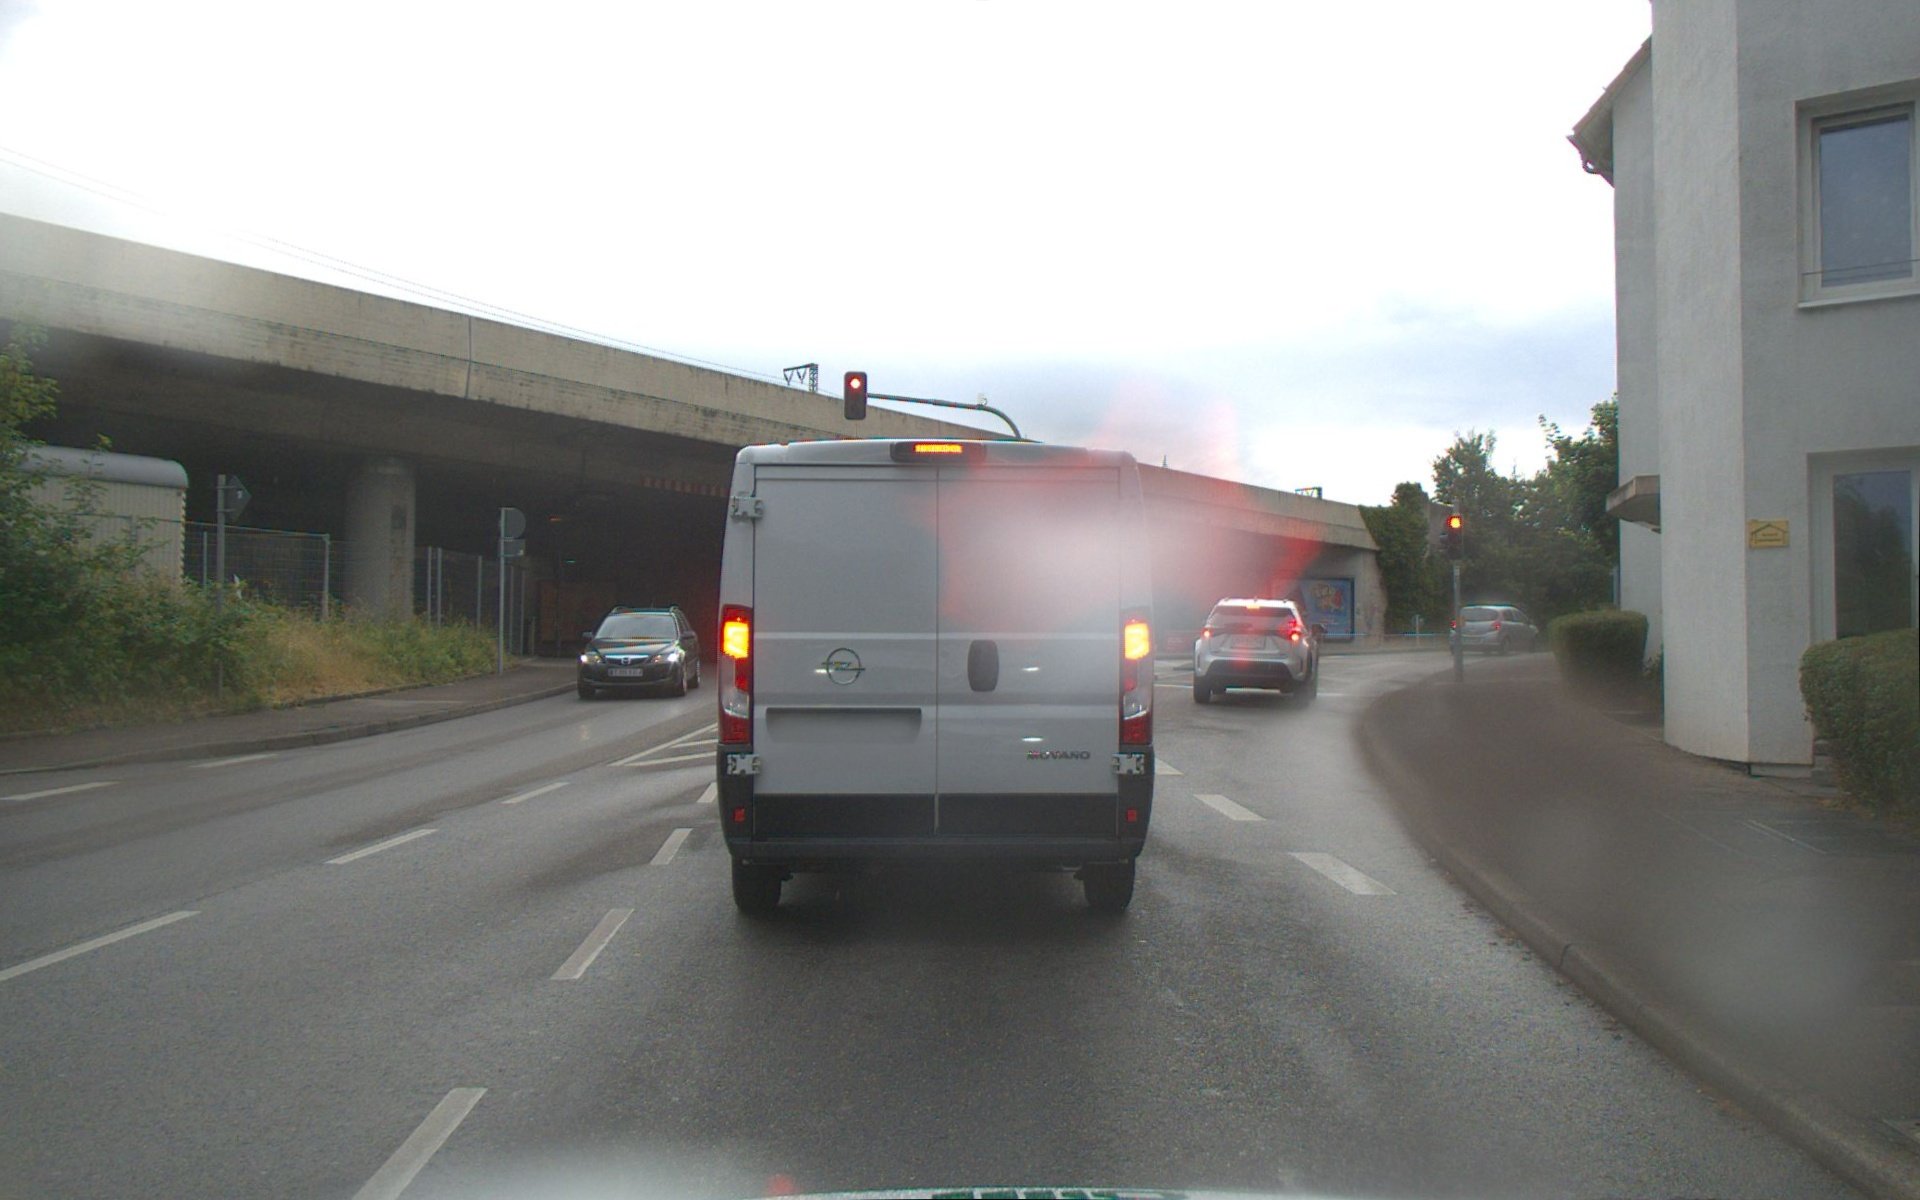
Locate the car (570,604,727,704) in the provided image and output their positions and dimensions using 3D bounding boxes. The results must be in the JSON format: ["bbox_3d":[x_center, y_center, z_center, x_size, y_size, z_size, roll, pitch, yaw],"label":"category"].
[{"bbox_3d":[-5.290,0.872,28.631,1.804,1.597,4.413,0,0,1],"label":"car"}]

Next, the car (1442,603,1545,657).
[{"bbox_3d":[16.243,0.926,50.282,1.959,1.581,3.987,-1,-2,34],"label":"car"}]

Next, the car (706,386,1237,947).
[{"bbox_3d":[0.035,0.310,9.746,2.258,2.384,5.281,1,-1,-1],"label":"car"}]

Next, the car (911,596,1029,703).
[{"bbox_3d":[0.244,0.864,29.423,1.952,1.759,4.001,0,-1,2],"label":"car"}]

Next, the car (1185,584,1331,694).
[{"bbox_3d":[4.737,0.612,25.885,1.951,1.576,4.003,0,-1,14],"label":"car"}]
